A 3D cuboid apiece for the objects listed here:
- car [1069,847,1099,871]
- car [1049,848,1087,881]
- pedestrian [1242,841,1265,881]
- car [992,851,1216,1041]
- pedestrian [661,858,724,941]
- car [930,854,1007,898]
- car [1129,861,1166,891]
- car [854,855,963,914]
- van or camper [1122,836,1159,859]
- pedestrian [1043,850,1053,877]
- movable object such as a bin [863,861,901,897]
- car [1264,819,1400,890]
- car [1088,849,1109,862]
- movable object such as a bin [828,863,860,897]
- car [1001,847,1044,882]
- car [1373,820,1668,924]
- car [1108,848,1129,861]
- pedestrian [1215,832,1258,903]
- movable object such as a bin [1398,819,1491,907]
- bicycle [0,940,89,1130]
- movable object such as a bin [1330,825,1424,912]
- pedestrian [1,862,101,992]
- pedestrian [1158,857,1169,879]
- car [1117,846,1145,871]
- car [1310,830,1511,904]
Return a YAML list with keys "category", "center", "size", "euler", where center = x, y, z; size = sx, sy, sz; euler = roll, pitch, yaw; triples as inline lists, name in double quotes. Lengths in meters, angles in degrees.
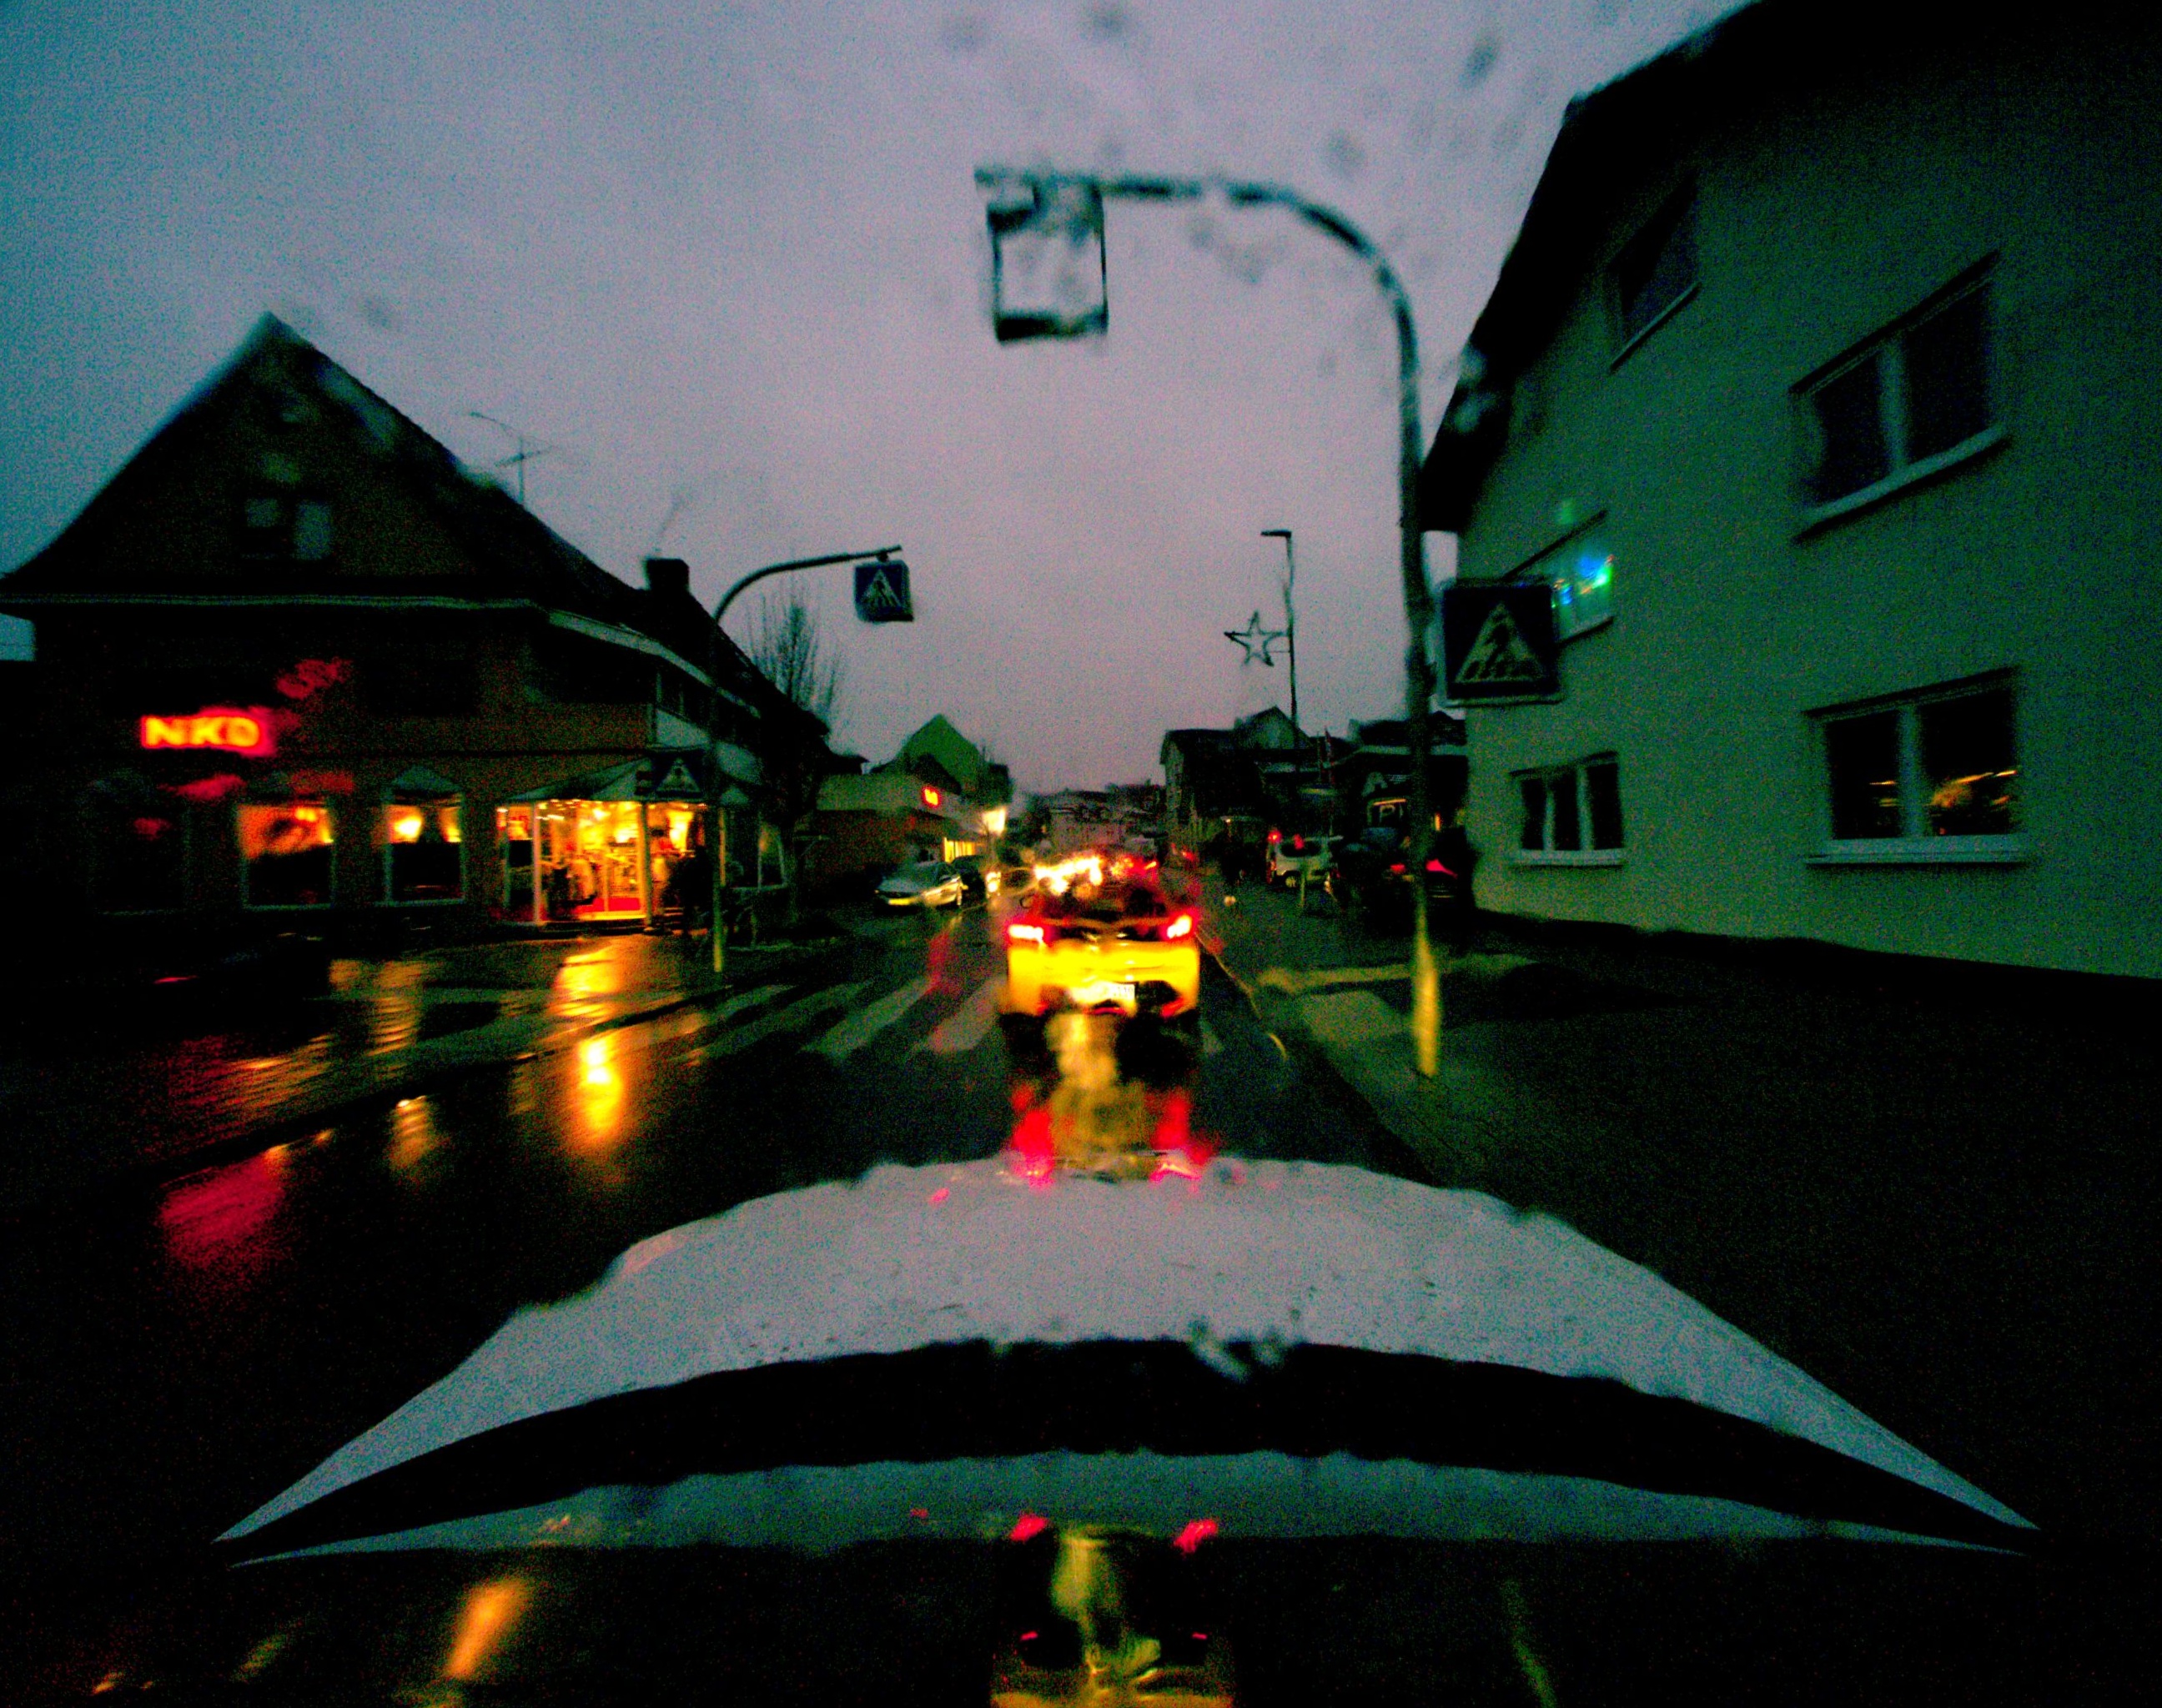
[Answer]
- category: "car"
  center: [0.173, 0.315, 59.434]
  size: [1.947, 1.547, 4.411]
  euler: [1, 2, -4]
- category: "car"
  center: [-0.678, 0.552, 46.359]
  size: [1.986, 1.705, 4.968]
  euler: [1, 1, 1]
- category: "pedestrian"
  center: [7.625, 0.299, 36.064]
  size: [0.838, 1.705, 0.840]
  euler: [-3, -1, 6]
- category: "car"
  center: [0.285, 0.752, 8.602]
  size: [1.807, 1.533, 4.003]
  euler: [0, 0, 3]
- category: "pedestrian"
  center: [-8.027, 0.905, 16.887]
  size: [0.825, 1.658, 1.096]
  euler: [0, 0, -5]
- category: "car"
  center: [-4.231, 0.793, 31.506]
  size: [1.985, 1.522, 4.982]
  euler: [-1, 0, 3]
- category: "car"
  center: [3.734, 1.236, 46.171]
  size: [1.985, 1.588, 4.003]
  euler: [0, 0, 3]
- category: "car"
  center: [-4.955, 0.820, 24.146]
  size: [1.985, 1.558, 4.625]
  euler: [0, 0, 3]
- category: "van or camper"
  center: [8.436, -0.934, 117.144]
  size: [2.660, 3.047, 6.689]
  euler: [-5, 1, -20]
- category: "pedestrian"
  center: [-1.951, 0.543, 48.239]
  size: [0.572, 1.585, 0.530]
  euler: [-1, 1, -1]
- category: "movable object such as a bin"
  center: [-8.190, 1.030, 33.585]
  size: [1.339, 1.354, 0.887]
  euler: [-4, -1, -7]
- category: "car"
  center: [8.276, 0.022, 27.240]
  size: [4.064, 2.049, 2.006]
  euler: [-3, 0, 11]
- category: "car"
  center: [2.462, 0.202, 116.221]
  size: [1.996, 1.765, 4.330]
  euler: [-3, 1, -14]
- category: "movable object such as a bin"
  center: [-9.724, 1.064, 33.440]
  size: [1.149, 1.354, 0.849]
  euler: [-1, 0, -8]
- category: "car"
  center: [-3.151, 0.521, 44.669]
  size: [2.080, 1.792, 5.021]
  euler: [-1, 0, -1]
- category: "car"
  center: [7.330, 0.291, 13.926]
  size: [3.972, 1.625, 2.000]
  euler: [0, 0, 1]
- category: "car"
  center: [5.326, 0.104, 116.477]
  size: [1.995, 1.610, 4.157]
  euler: [-3, -1, -11]
- category: "pedestrian"
  center: [4.212, 0.351, 22.129]
  size: [0.963, 1.889, 1.006]
  euler: [0, 0, 0]
- category: "movable object such as a bin"
  center: [7.404, 0.176, 16.660]
  size: [1.281, 1.644, 1.185]
  euler: [-4, 0, 0]
- category: "bicycle"
  center: [-6.469, 1.115, 4.398]
  size: [0.324, 1.061, 1.737]
  euler: [-6, 2, -13]
- category: "movable object such as a bin"
  center: [6.051, 0.283, 16.740]
  size: [1.388, 1.644, 1.261]
  euler: [-4, 0, 0]
- category: "pedestrian"
  center: [-16.676, 1.147, 13.197]
  size: [0.817, 2.014, 0.739]
  euler: [0, 0, 16]
- category: "pedestrian"
  center: [6.493, 1.103, 64.247]
  size: [0.743, 1.729, 0.872]
  euler: [-1, 1, 0]
- category: "car"
  center: [3.832, 0.328, 63.108]
  size: [1.986, 1.857, 4.001]
  euler: [0, 0, 1]
- category: "car"
  center: [7.630, 0.312, 19.191]
  size: [3.967, 1.486, 1.915]
  euler: [-2, -1, 5]
